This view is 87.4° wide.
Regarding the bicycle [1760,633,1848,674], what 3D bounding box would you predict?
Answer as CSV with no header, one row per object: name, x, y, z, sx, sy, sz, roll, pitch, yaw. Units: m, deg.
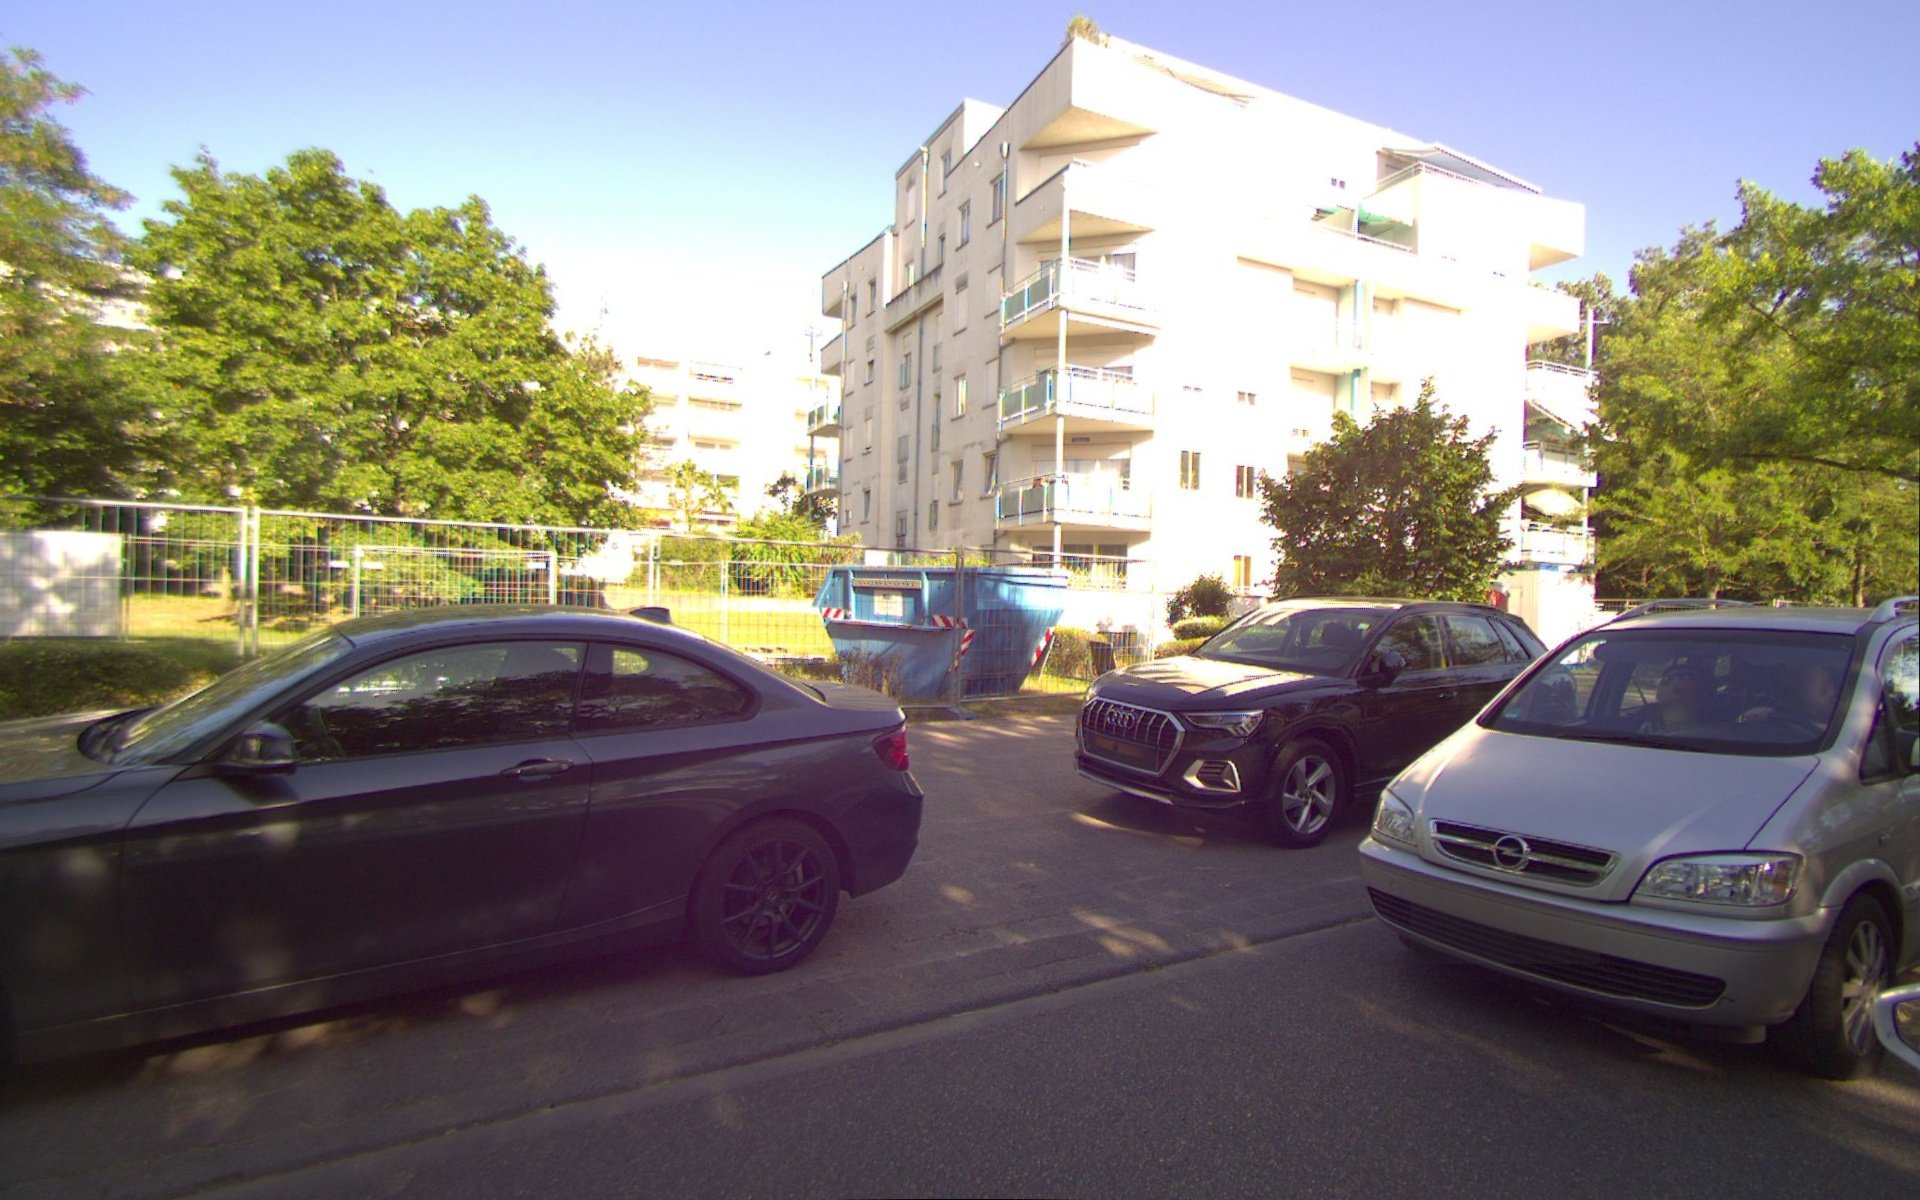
bicycle,23.382,1.458,27.841,0.398,1.040,1.820,2,-1,-43

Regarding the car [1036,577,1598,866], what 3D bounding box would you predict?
car,2.807,0.736,7.659,4.172,1.643,1.766,2,2,-31

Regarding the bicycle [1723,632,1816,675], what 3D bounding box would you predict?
bicycle,21.443,1.404,26.636,0.398,1.040,1.851,2,-1,-43

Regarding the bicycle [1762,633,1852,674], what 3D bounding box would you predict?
bicycle,23.727,1.475,28.163,0.398,1.040,1.896,2,-1,-43

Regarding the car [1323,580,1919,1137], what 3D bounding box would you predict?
car,3.671,0.819,4.695,3.964,1.617,1.651,2,-2,-32

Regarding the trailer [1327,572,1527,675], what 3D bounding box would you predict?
trailer,10.669,0.530,22.923,4.290,2.149,1.856,2,1,-27

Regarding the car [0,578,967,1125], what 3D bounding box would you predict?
car,-2.146,0.701,4.077,4.095,1.452,1.705,1,2,-35

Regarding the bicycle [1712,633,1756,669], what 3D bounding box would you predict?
bicycle,23.502,1.560,30.491,1.680,1.040,0.397,2,-1,-29

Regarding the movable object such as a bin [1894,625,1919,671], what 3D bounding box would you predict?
movable object such as a bin,30.750,1.522,31.725,1.300,1.454,1.273,1,-1,-2
